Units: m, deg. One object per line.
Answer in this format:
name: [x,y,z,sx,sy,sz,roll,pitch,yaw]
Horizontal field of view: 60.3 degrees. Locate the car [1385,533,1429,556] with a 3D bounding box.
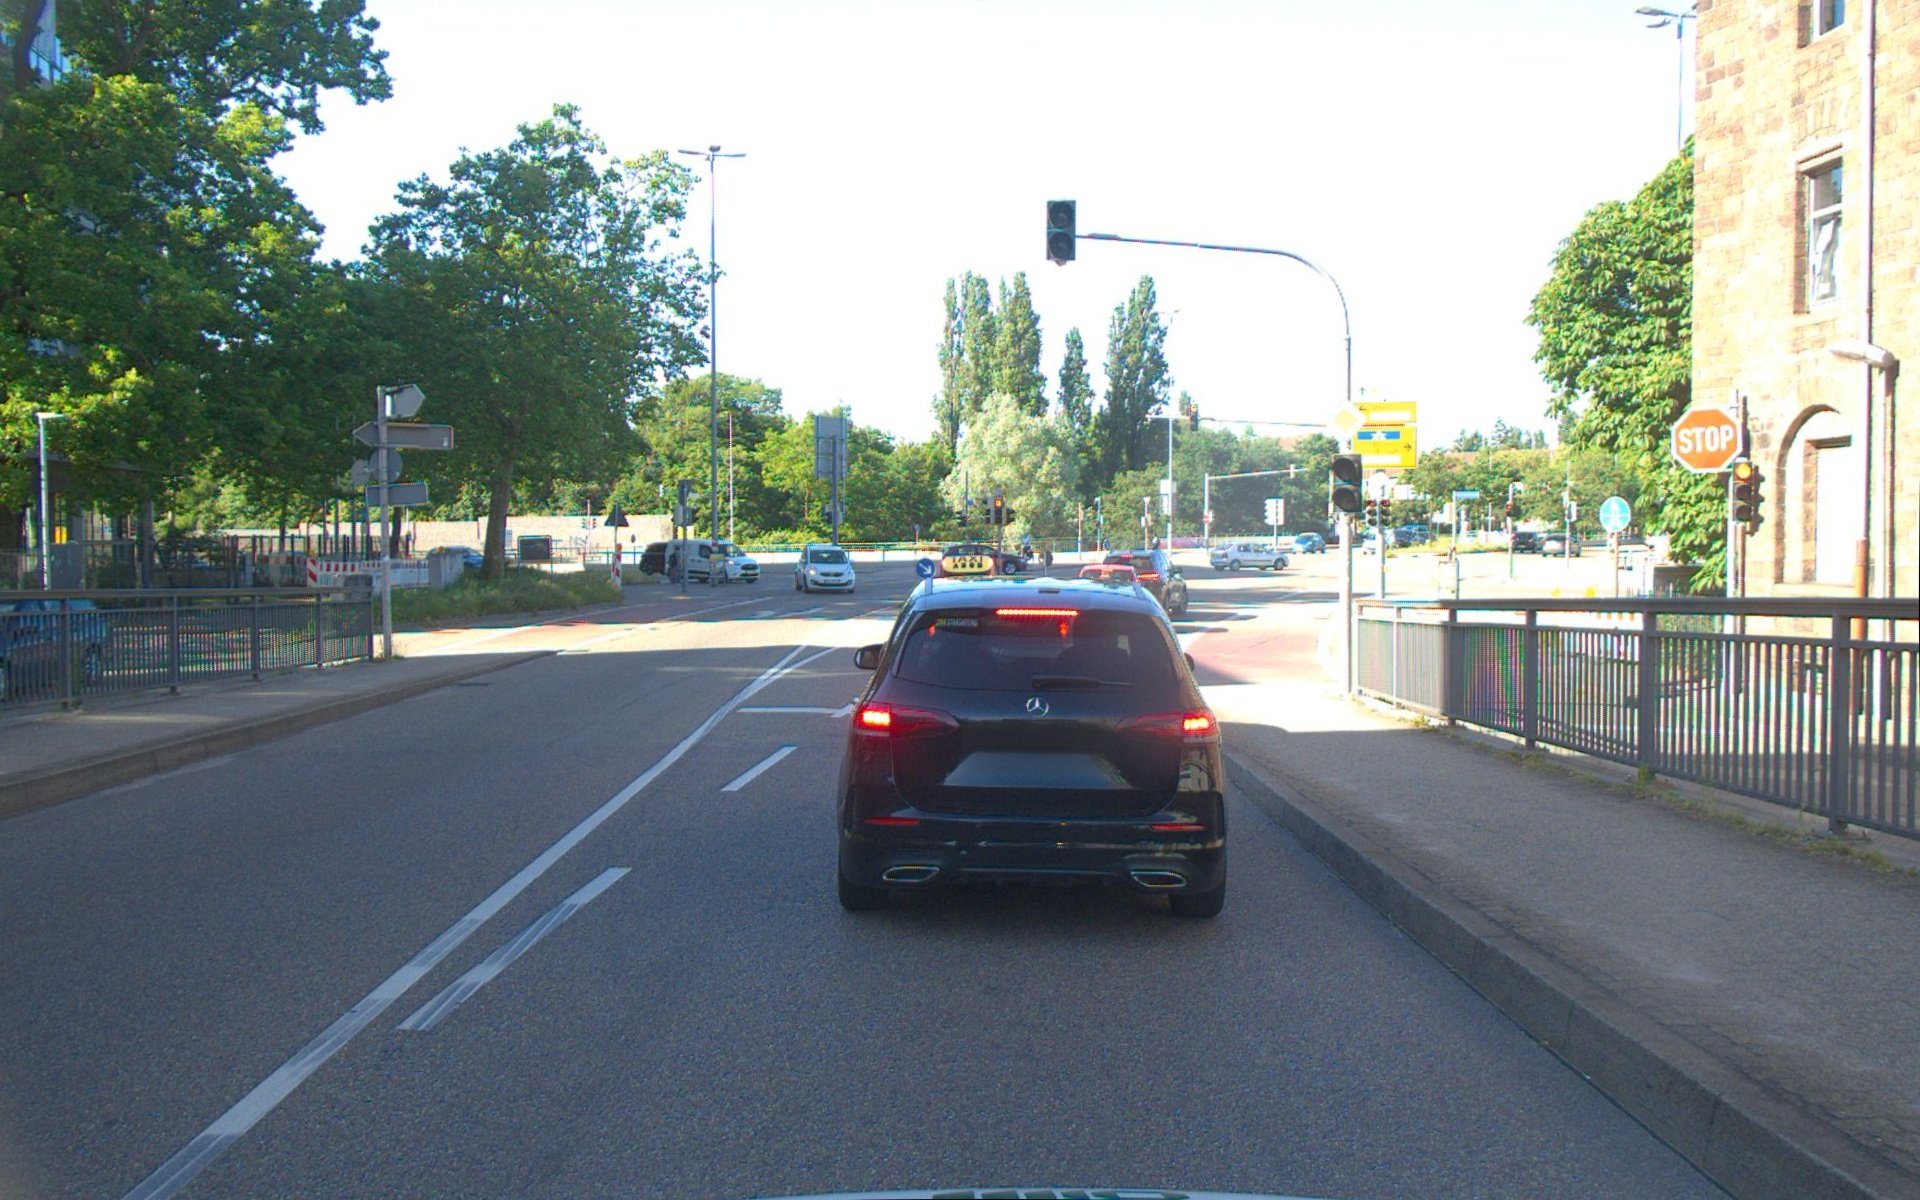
car: [32.260,-4.016,119.364,1.846,1.605,3.987,1,3,35]

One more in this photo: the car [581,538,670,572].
car: [-16.477,-2.224,81.544,3.902,1.658,1.893,0,1,8]

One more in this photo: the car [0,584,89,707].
car: [-14.879,0.676,24.556,1.814,1.722,4.000,0,2,-1]

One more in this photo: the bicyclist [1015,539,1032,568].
bicyclist: [3.488,-2.577,91.158,0.518,1.578,0.802,0,2,41]

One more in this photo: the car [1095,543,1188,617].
car: [4.877,-0.535,44.001,1.685,1.843,4.300,-2,0,17]

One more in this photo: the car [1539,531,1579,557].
car: [38.389,-3.597,106.030,1.707,1.524,3.991,0,0,31]

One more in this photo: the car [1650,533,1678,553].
car: [55.394,-4.504,130.174,1.953,1.388,4.315,0,3,23]

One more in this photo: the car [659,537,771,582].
car: [-10.328,-1.691,69.603,4.806,1.825,1.915,0,2,39]

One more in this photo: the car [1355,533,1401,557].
car: [28.883,-3.816,114.139,1.846,1.605,3.987,1,3,35]

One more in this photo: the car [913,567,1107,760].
car: [0.456,0.500,15.671,1.606,1.556,3.475,-1,2,1]

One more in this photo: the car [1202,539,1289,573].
car: [14.316,-2.228,82.869,3.930,1.658,1.879,-1,2,-21]

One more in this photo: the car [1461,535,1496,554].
car: [44.916,-4.824,143.250,1.846,1.605,3.987,1,3,35]

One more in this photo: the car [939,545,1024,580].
car: [1.028,-1.801,79.741,3.909,1.658,1.889,-1,1,-5]

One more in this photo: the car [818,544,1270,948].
car: [0.311,0.573,8.813,1.840,1.641,3.999,1,1,-1]

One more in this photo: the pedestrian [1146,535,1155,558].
pedestrian: [13.363,-3.747,115.936,0.443,1.613,0.499,0,2,40]

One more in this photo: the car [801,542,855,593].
car: [-4.713,-1.182,58.663,1.744,1.663,3.995,-2,3,-7]

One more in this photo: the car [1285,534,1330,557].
car: [25.358,-3.979,120.755,1.846,1.605,3.987,1,3,35]

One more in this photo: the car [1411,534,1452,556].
car: [35.791,-4.178,125.567,1.846,1.605,3.987,1,3,35]

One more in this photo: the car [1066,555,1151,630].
car: [3.473,-0.212,38.301,1.685,1.548,3.490,0,3,10]

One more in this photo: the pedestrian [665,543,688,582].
pedestrian: [-11.431,-1.512,66.610,0.690,1.552,0.744,1,1,9]

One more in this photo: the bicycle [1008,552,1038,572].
bicycle: [3.488,-2.115,91.181,0.518,1.068,1.979,0,2,41]

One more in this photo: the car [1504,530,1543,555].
car: [39.264,-3.968,115.208,1.850,1.574,3.991,1,0,30]

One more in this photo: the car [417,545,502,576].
car: [-26.995,-2.119,89.171,4.311,1.658,1.889,0,2,27]
